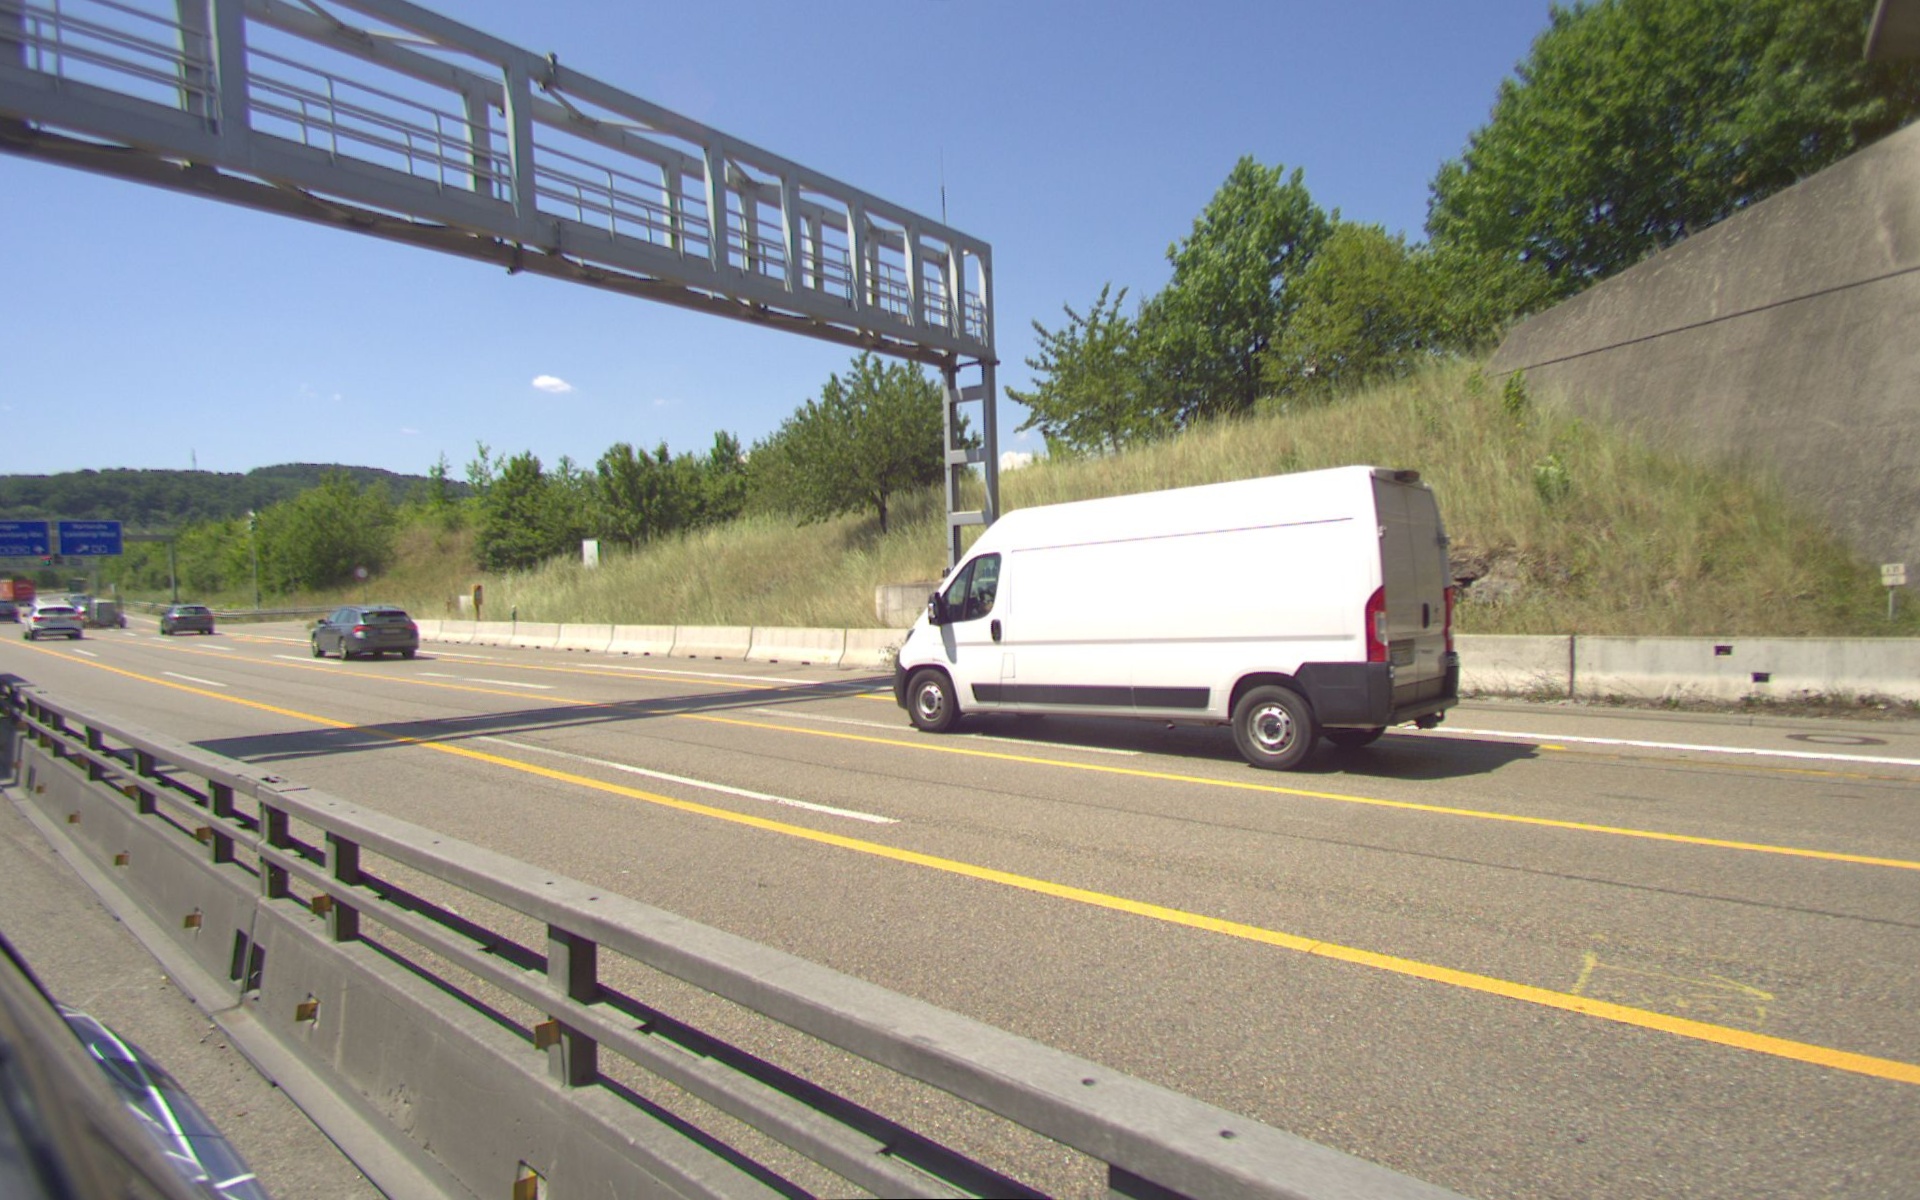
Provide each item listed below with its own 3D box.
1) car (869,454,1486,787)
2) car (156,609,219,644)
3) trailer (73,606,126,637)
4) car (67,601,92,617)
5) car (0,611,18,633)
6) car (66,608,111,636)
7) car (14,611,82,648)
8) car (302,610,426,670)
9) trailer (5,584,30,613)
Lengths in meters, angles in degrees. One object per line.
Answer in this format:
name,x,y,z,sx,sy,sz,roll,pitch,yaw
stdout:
car,1.859,0.194,10.458,6.039,2.534,1.973,-1,-1,41
car,-39.042,1.325,51.094,4.807,1.679,1.754,-1,-1,43
trailer,-54.440,1.348,64.007,5.522,1.819,1.925,-1,-1,43
car,-102.142,1.018,117.390,4.788,1.848,1.669,0,0,43
car,-74.115,1.710,78.115,4.987,1.605,1.754,-1,-1,44
car,-58.230,1.455,67.587,4.867,1.740,1.754,-1,-1,43
car,-40.915,1.306,45.367,4.444,1.589,1.755,-1,-1,41
car,-16.704,1.056,28.275,4.564,1.527,1.754,-1,-1,43
trailer,-142.526,-0.313,153.001,2.311,4.132,13.270,-3,2,-44
